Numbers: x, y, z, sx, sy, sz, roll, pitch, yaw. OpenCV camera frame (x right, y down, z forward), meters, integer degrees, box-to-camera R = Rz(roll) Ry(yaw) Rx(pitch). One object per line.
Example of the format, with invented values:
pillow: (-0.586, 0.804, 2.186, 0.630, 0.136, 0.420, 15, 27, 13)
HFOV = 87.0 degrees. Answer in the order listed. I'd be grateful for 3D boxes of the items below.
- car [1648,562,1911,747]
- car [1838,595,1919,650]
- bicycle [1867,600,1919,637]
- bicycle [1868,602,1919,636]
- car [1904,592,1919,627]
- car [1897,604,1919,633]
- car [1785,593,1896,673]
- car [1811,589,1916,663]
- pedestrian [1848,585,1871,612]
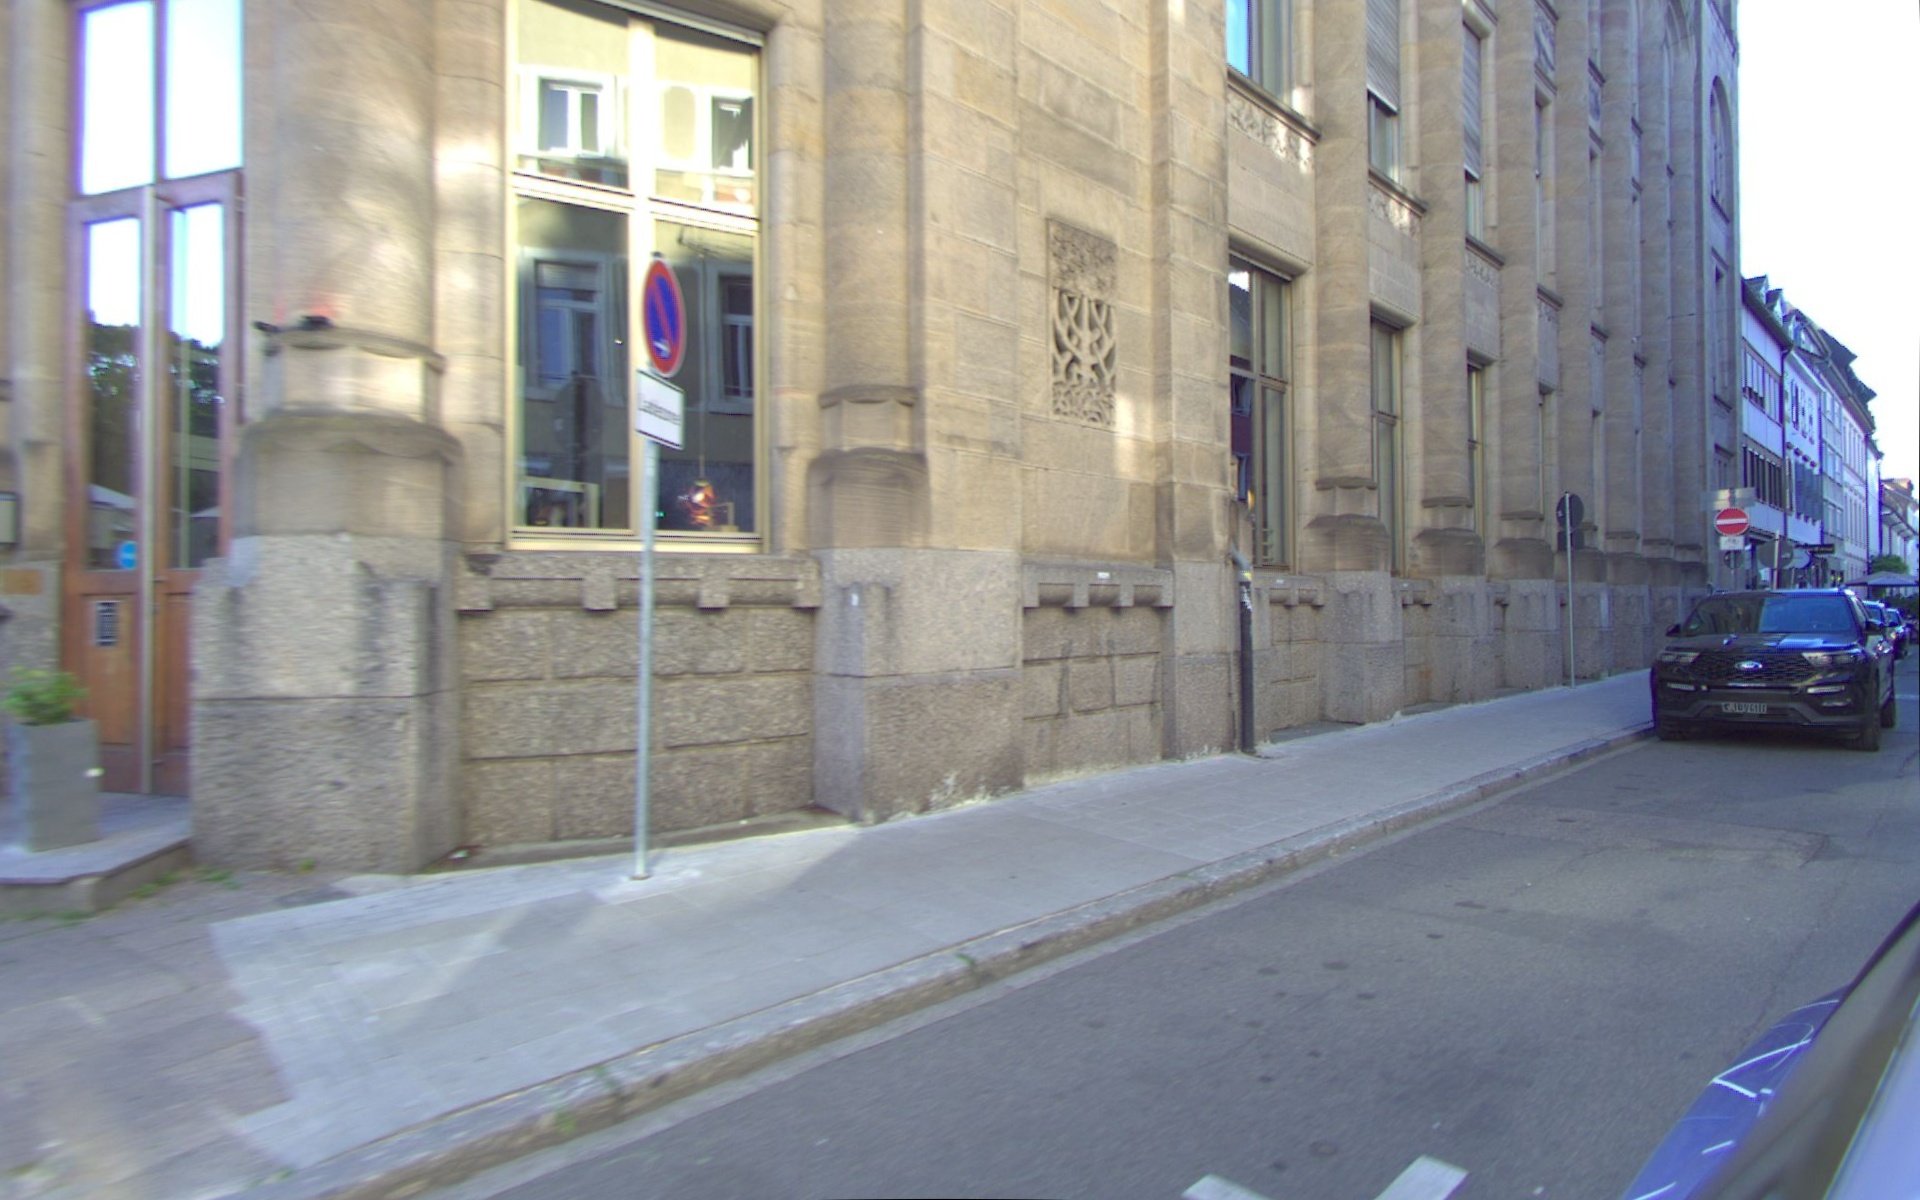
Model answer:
car: (10.100, 0.537, 12.312, 1.994, 1.806, 4.855, -1, -1, 45)
car: (28.099, 0.630, 30.754, 4.908, 1.536, 1.691, 0, -1, -44)
bicycle: (36.006, 0.699, 38.720, 0.586, 1.318, 1.872, 0, 3, -43)
bicycle: (36.488, 0.740, 39.188, 0.586, 1.243, 1.872, 0, 3, -43)
car: (52.578, 0.486, 54.743, 3.934, 1.869, 1.995, 0, -1, -44)
car: (45.344, 0.839, 47.361, 3.934, 1.313, 1.936, 0, -1, -44)
car: (20.386, 0.699, 23.387, 1.773, 1.687, 3.938, -1, 0, 43)
car: (24.263, 0.664, 27.136, 4.168, 1.830, 1.671, 0, -2, -43)
pedestrian: (42.424, -0.070, 47.723, 0.635, 1.259, 0.735, -1, -1, -42)
